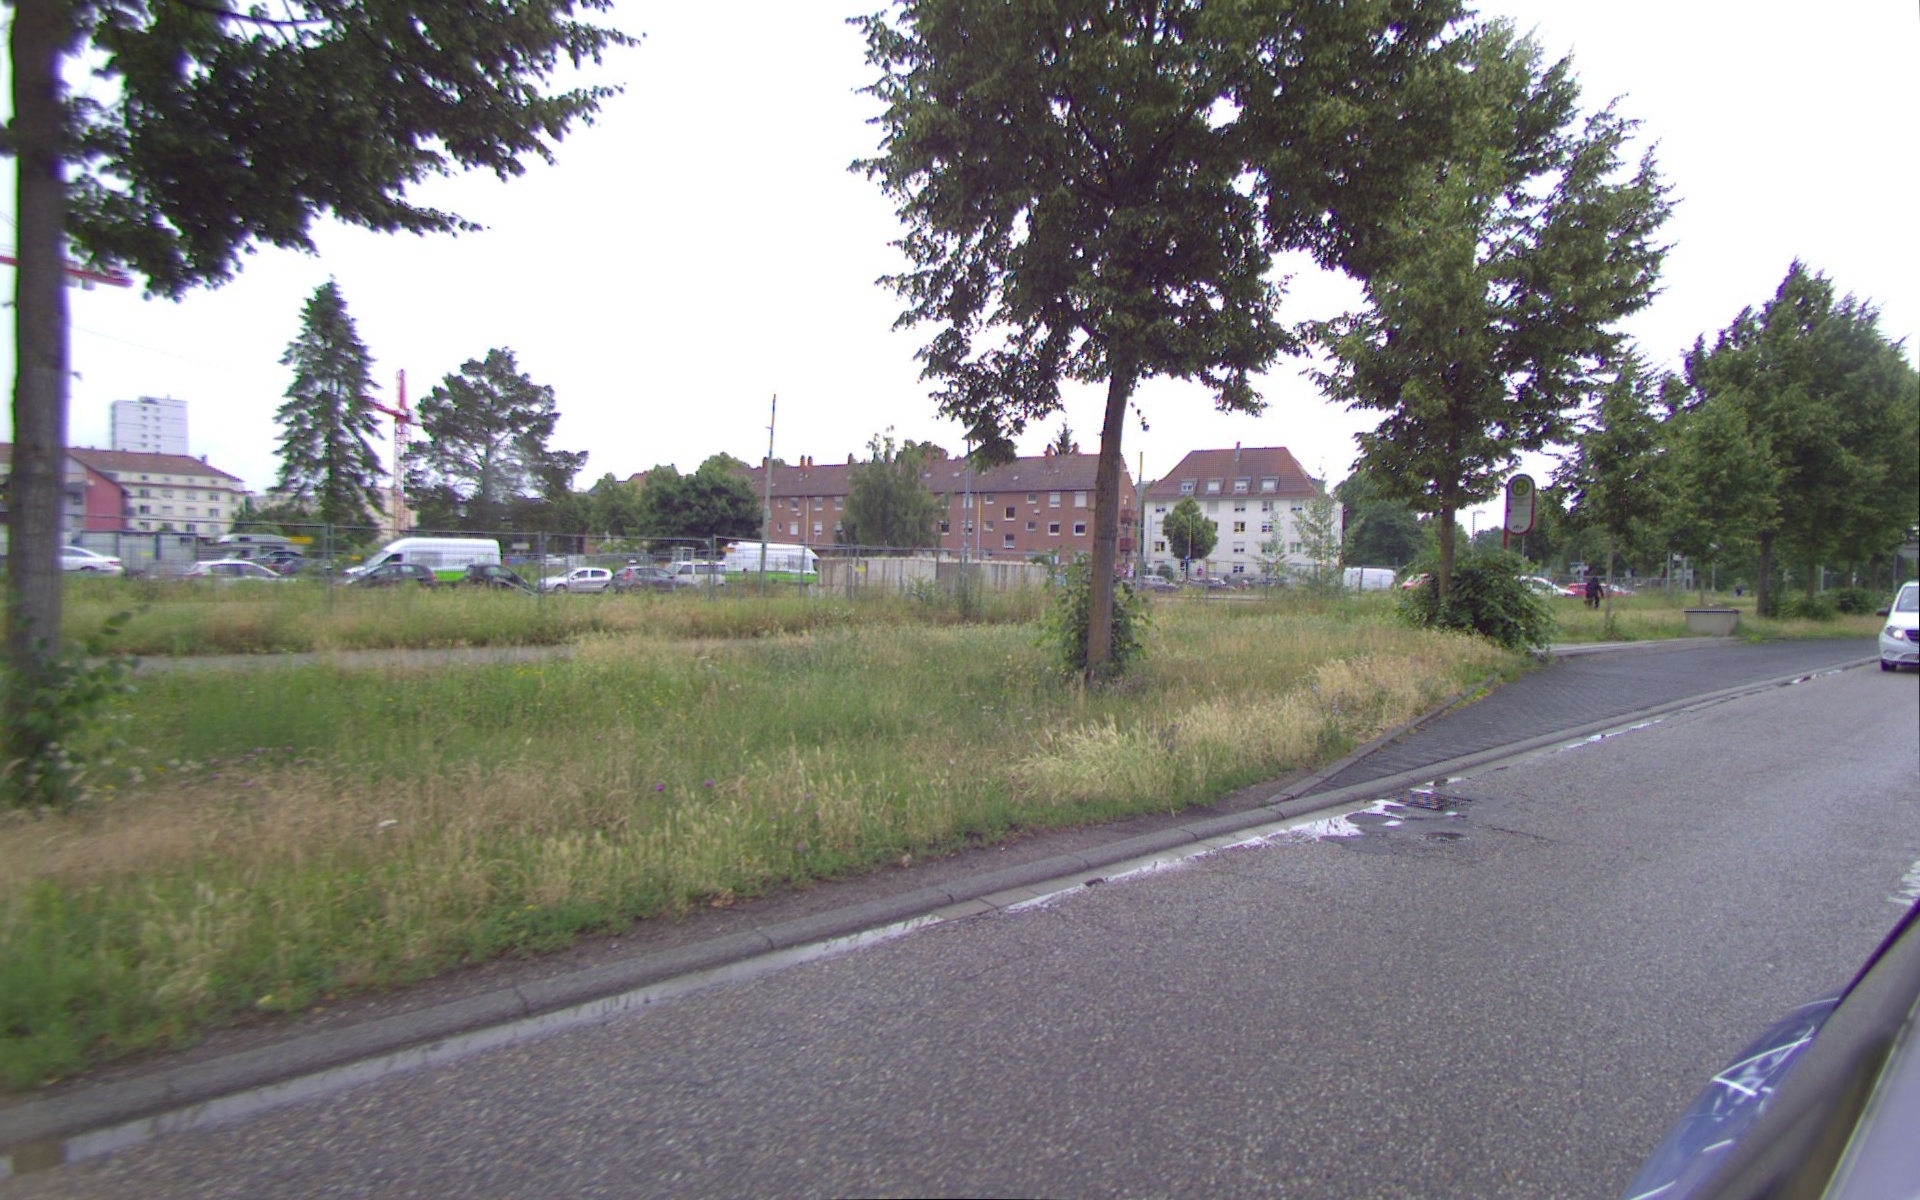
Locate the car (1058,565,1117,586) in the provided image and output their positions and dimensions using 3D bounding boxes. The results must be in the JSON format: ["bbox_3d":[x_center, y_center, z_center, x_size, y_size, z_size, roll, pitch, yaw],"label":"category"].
[{"bbox_3d":[9.079,-1.718,71.775,1.992,1.404,4.500,2,1,41],"label":"car"}]

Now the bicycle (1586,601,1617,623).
[{"bbox_3d":[27.196,0.514,42.899,1.713,0.889,0.548,0,2,-38],"label":"bicycle"}]

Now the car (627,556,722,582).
[{"bbox_3d":[-15.857,-1.711,56.357,4.682,1.369,2.092,0,2,-45],"label":"car"}]

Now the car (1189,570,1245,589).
[{"bbox_3d":[20.717,-1.644,81.724,3.916,1.471,2.004,0,0,-14],"label":"car"}]

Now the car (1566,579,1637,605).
[{"bbox_3d":[43.628,-0.558,68.887,1.648,1.727,3.807,0,0,-35],"label":"car"}]

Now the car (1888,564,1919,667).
[{"bbox_3d":[20.885,0.279,20.937,5.004,2.004,1.971,-1,2,-42],"label":"car"}]

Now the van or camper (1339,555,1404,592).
[{"bbox_3d":[35.521,-2.238,87.341,5.400,3.073,2.349,0,0,-30],"label":"van or camper"}]

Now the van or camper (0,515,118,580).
[{"bbox_3d":[-35.603,-1.930,37.571,6.537,2.336,2.504,-1,0,-44],"label":"van or camper"}]

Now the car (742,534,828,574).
[{"bbox_3d":[-10.653,-2.777,61.816,4.682,2.247,2.273,0,1,-45],"label":"car"}]

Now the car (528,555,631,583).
[{"bbox_3d":[-19.666,-1.595,52.445,4.682,1.369,1.843,0,2,-45],"label":"car"}]

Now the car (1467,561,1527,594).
[{"bbox_3d":[39.103,-1.646,73.667,3.919,2.339,2.003,0,1,-28],"label":"car"}]

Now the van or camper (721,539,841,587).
[{"bbox_3d":[-9.378,-1.900,53.380,6.046,2.336,2.205,0,1,-44],"label":"van or camper"}]

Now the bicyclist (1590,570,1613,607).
[{"bbox_3d":[27.177,-0.495,42.861,0.825,1.524,0.537,0,1,-38],"label":"bicyclist"}]

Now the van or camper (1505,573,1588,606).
[{"bbox_3d":[37.642,-0.682,65.041,4.321,2.039,1.832,2,1,44],"label":"van or camper"}]

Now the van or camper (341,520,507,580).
[{"bbox_3d":[-24.856,-2.245,47.105,6.312,2.567,2.779,0,1,-44],"label":"van or camper"}]

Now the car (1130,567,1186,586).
[{"bbox_3d":[15.355,-1.806,78.573,3.921,1.390,2.002,0,0,-31],"label":"car"}]
